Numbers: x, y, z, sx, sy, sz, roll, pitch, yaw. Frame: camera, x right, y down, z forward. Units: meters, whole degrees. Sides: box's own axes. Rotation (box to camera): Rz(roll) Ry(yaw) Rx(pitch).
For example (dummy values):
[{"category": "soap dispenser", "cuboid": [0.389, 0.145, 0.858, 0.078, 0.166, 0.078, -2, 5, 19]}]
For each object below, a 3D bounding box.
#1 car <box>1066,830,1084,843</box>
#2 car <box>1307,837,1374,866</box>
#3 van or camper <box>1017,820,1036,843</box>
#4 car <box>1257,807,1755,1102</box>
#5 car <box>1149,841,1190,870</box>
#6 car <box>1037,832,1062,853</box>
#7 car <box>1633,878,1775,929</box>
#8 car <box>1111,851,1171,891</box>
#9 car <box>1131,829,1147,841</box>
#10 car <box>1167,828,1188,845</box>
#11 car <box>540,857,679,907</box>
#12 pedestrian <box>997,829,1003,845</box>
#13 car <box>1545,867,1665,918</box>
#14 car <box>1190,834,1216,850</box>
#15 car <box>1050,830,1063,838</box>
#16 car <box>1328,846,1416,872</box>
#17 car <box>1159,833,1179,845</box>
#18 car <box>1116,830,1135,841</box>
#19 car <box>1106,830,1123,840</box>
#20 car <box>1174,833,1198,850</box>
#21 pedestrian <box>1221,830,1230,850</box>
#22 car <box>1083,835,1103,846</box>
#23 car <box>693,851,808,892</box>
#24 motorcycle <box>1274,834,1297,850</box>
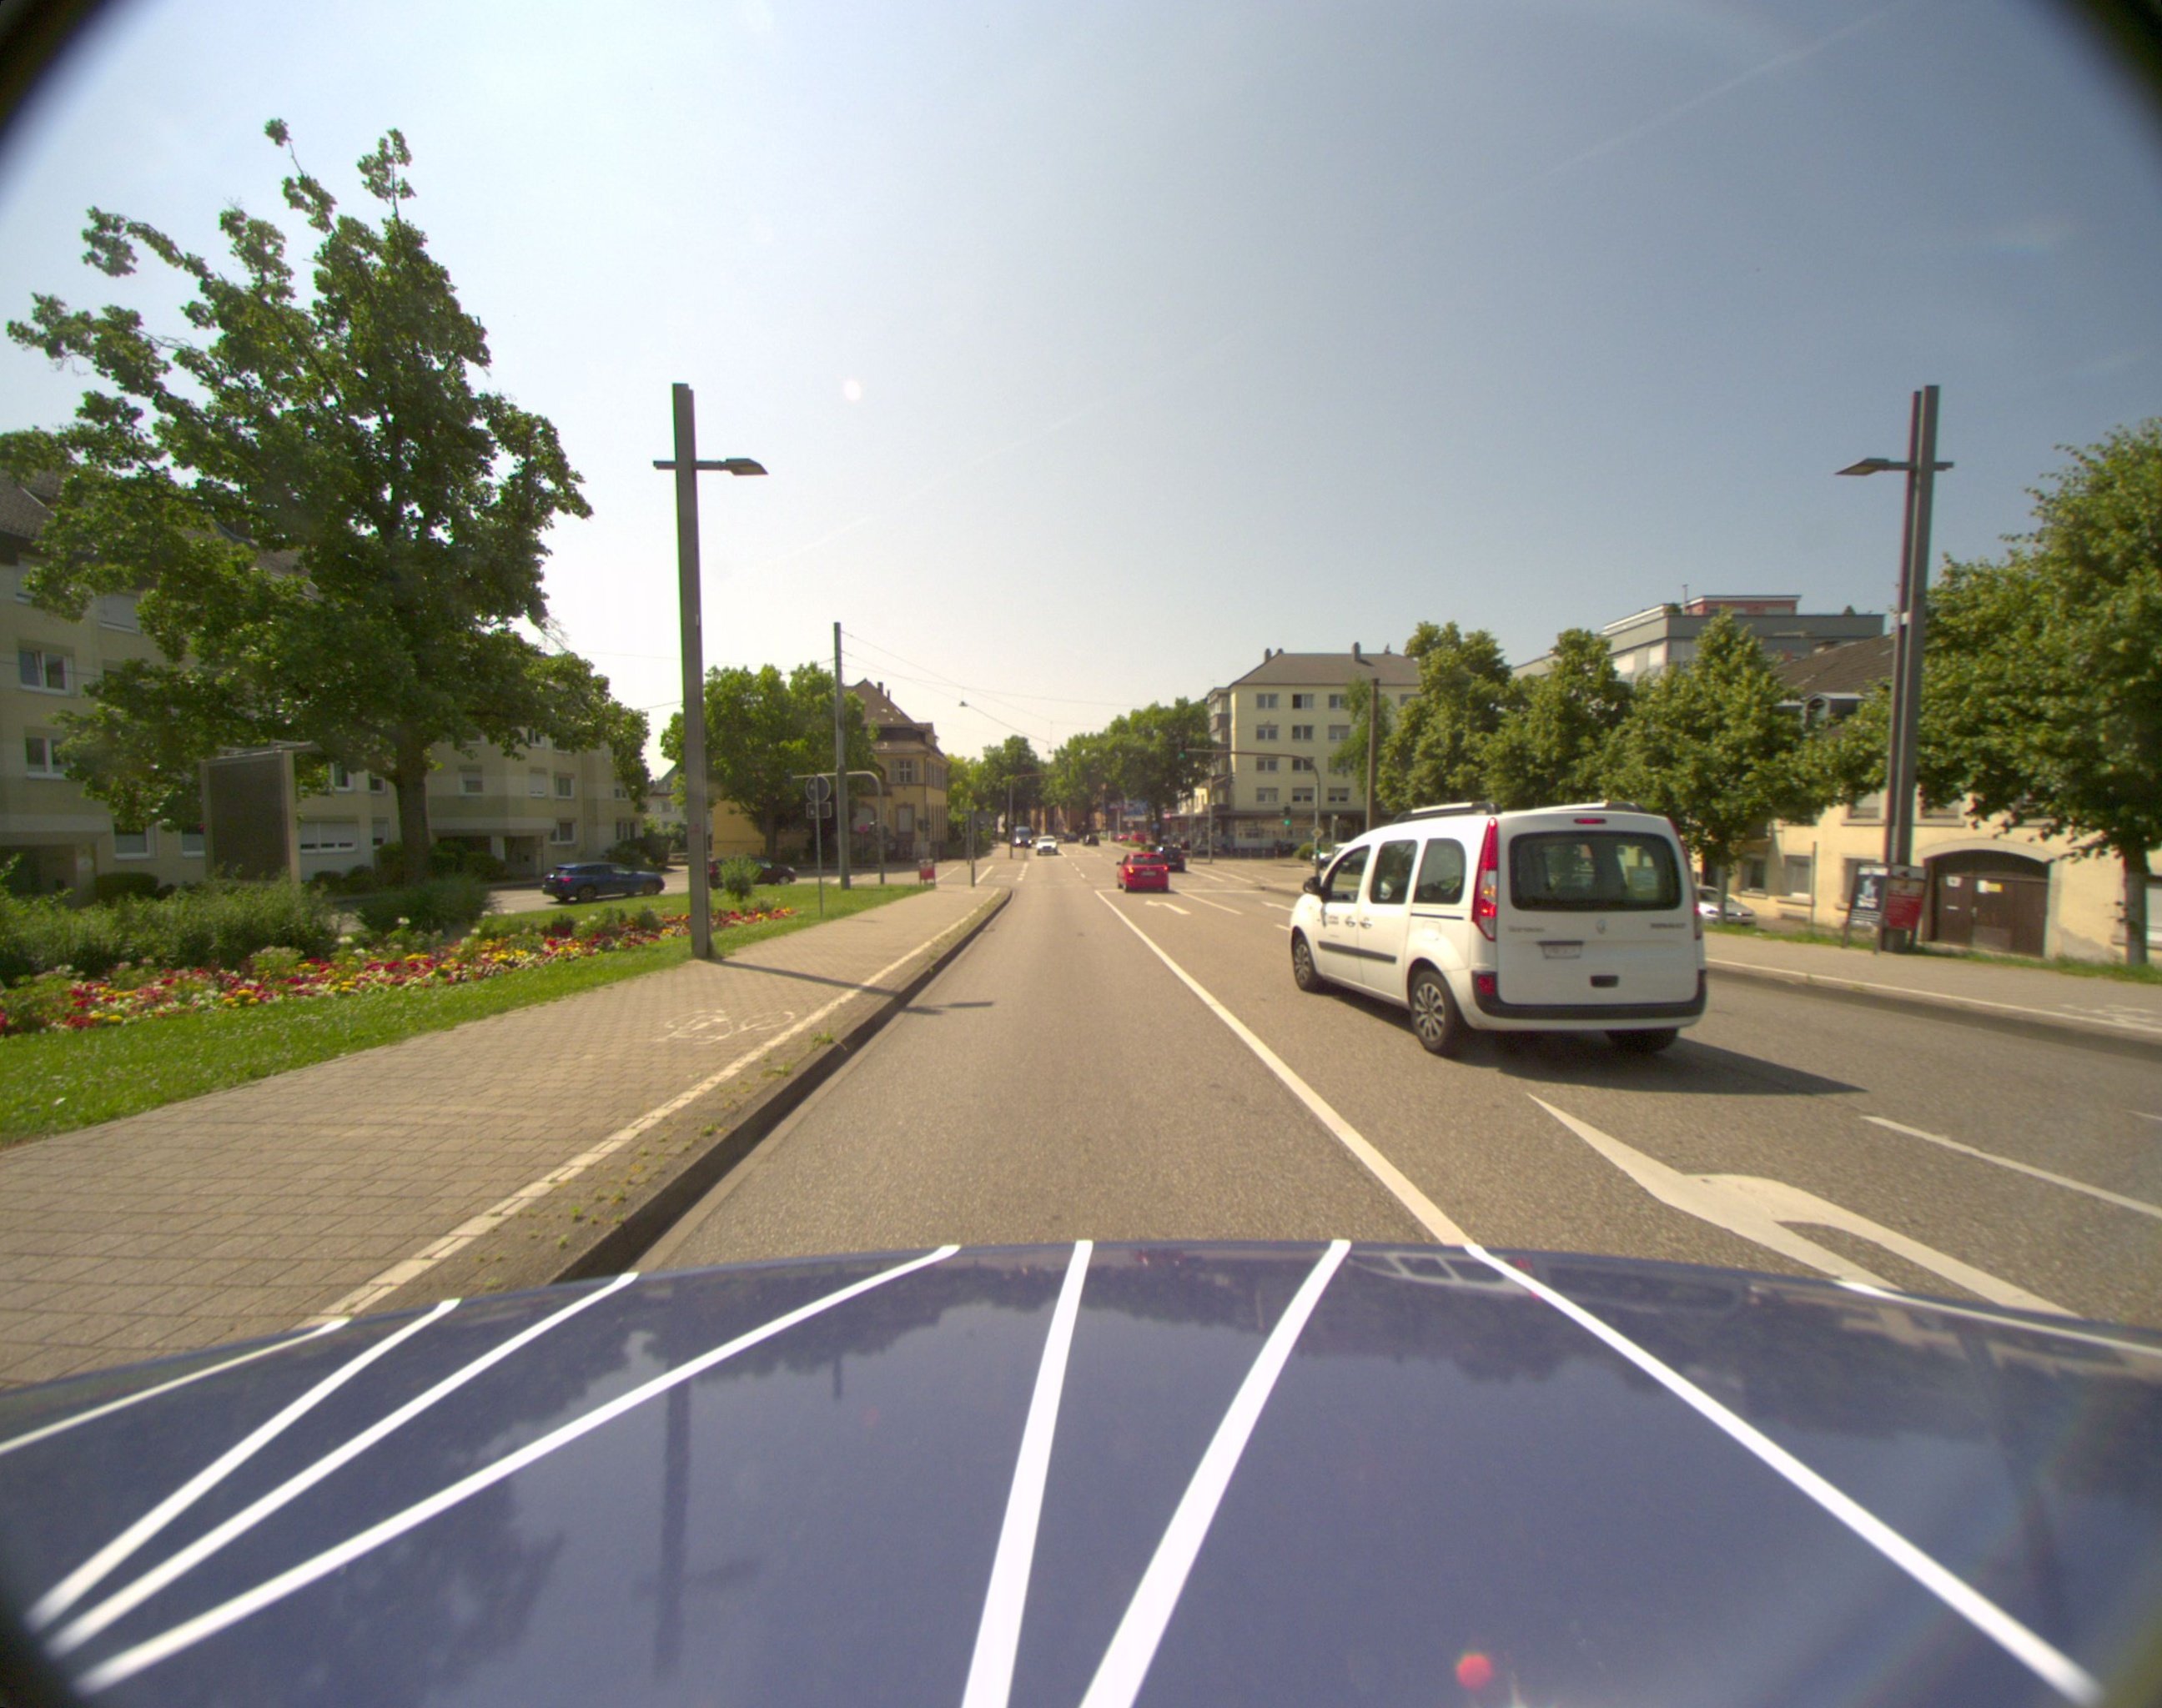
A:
[{"category": "car", "cuboid": [-0.942, -2.531, 111.328, 1.762, 1.552, 4.309, 1, 6, -12]}, {"category": "car", "cuboid": [17.295, -0.168, 50.735, 3.696, 1.726, 1.892, 2, 3, -5]}, {"category": "van or camper", "cuboid": [-6.538, -2.771, 91.858, 2.165, 2.568, 5.840, -1, 3, -3]}, {"category": "car", "cuboid": [3.254, 0.647, 7.147, 1.842, 1.849, 4.661, 0, 0, -4]}, {"category": "car", "cuboid": [5.090, 0.070, 44.050, 1.719, 1.477, 4.028, 1, 2, -2]}, {"category": "car", "cuboid": [-2.897, -1.092, 68.602, 1.999, 1.740, 4.441, -2, 3, -5]}, {"category": "car", "cuboid": [22.421, 1.718, 27.611, 1.780, 1.424, 4.430, -1, 1, 5]}, {"category": "car", "cuboid": [2.251, 0.615, 29.318, 1.652, 1.455, 3.859, 0, 0, -5]}, {"category": "car", "cuboid": [7.368, -2.507, 97.281, 1.639, 1.460, 3.631, 0, 3, -3]}, {"category": "car", "cuboid": [10.871, -1.962, 85.425, 1.643, 1.829, 3.857, -1, 2, -4]}, {"category": "car", "cuboid": [-20.593, 1.150, 33.461, 1.994, 1.692, 4.775, 2, 4, 27]}, {"category": "pedestrian", "cuboid": [-9.431, -1.970, 88.567, 0.621, 1.908, 0.743, 0, 3, -4]}, {"category": "car", "cuboid": [22.629, 1.580, 33.136, 1.818, 1.619, 5.285, 2, 3, 4]}, {"category": "car", "cuboid": [11.436, -1.146, 71.628, 1.587, 1.451, 3.936, -1, 3, -3]}, {"category": "car", "cuboid": [-4.216, -3.456, 130.878, 1.622, 1.447, 3.704, 2, 2, -13]}, {"category": "car", "cuboid": [18.074, 0.306, 47.350, 4.619, 1.393, 2.114, 2, 3, -7]}, {"category": "car", "cuboid": [10.462, -1.848, 90.930, 1.704, 1.280, 3.858, -1, 3, -4]}, {"category": "car", "cuboid": [6.285, -2.681, 107.967, 1.914, 1.511, 4.329, 0, 2, -6]}, {"category": "car", "cuboid": [5.183, -2.946, 118.234, 1.914, 1.511, 4.329, 0, 2, -6]}, {"category": "car", "cuboid": [10.916, -1.357, 79.562, 1.626, 1.560, 4.835, -1, 3, -3]}, {"category": "pedestrian", "cuboid": [13.244, -1.278, 69.850, 0.629, 1.751, 0.742, 0, 4, -3]}, {"category": "car", "cuboid": [1.455, -1.702, 94.109, 1.842, 1.391, 4.045, 0, 2, -8]}, {"category": "car", "cuboid": [-16.381, 0.802, 37.841, 4.827, 1.623, 1.912, -5, 5, -45]}, {"category": "motorcycle", "cuboid": [18.523, -1.090, 68.847, 1.920, 1.413, 0.713, -1, 5, -2]}]
